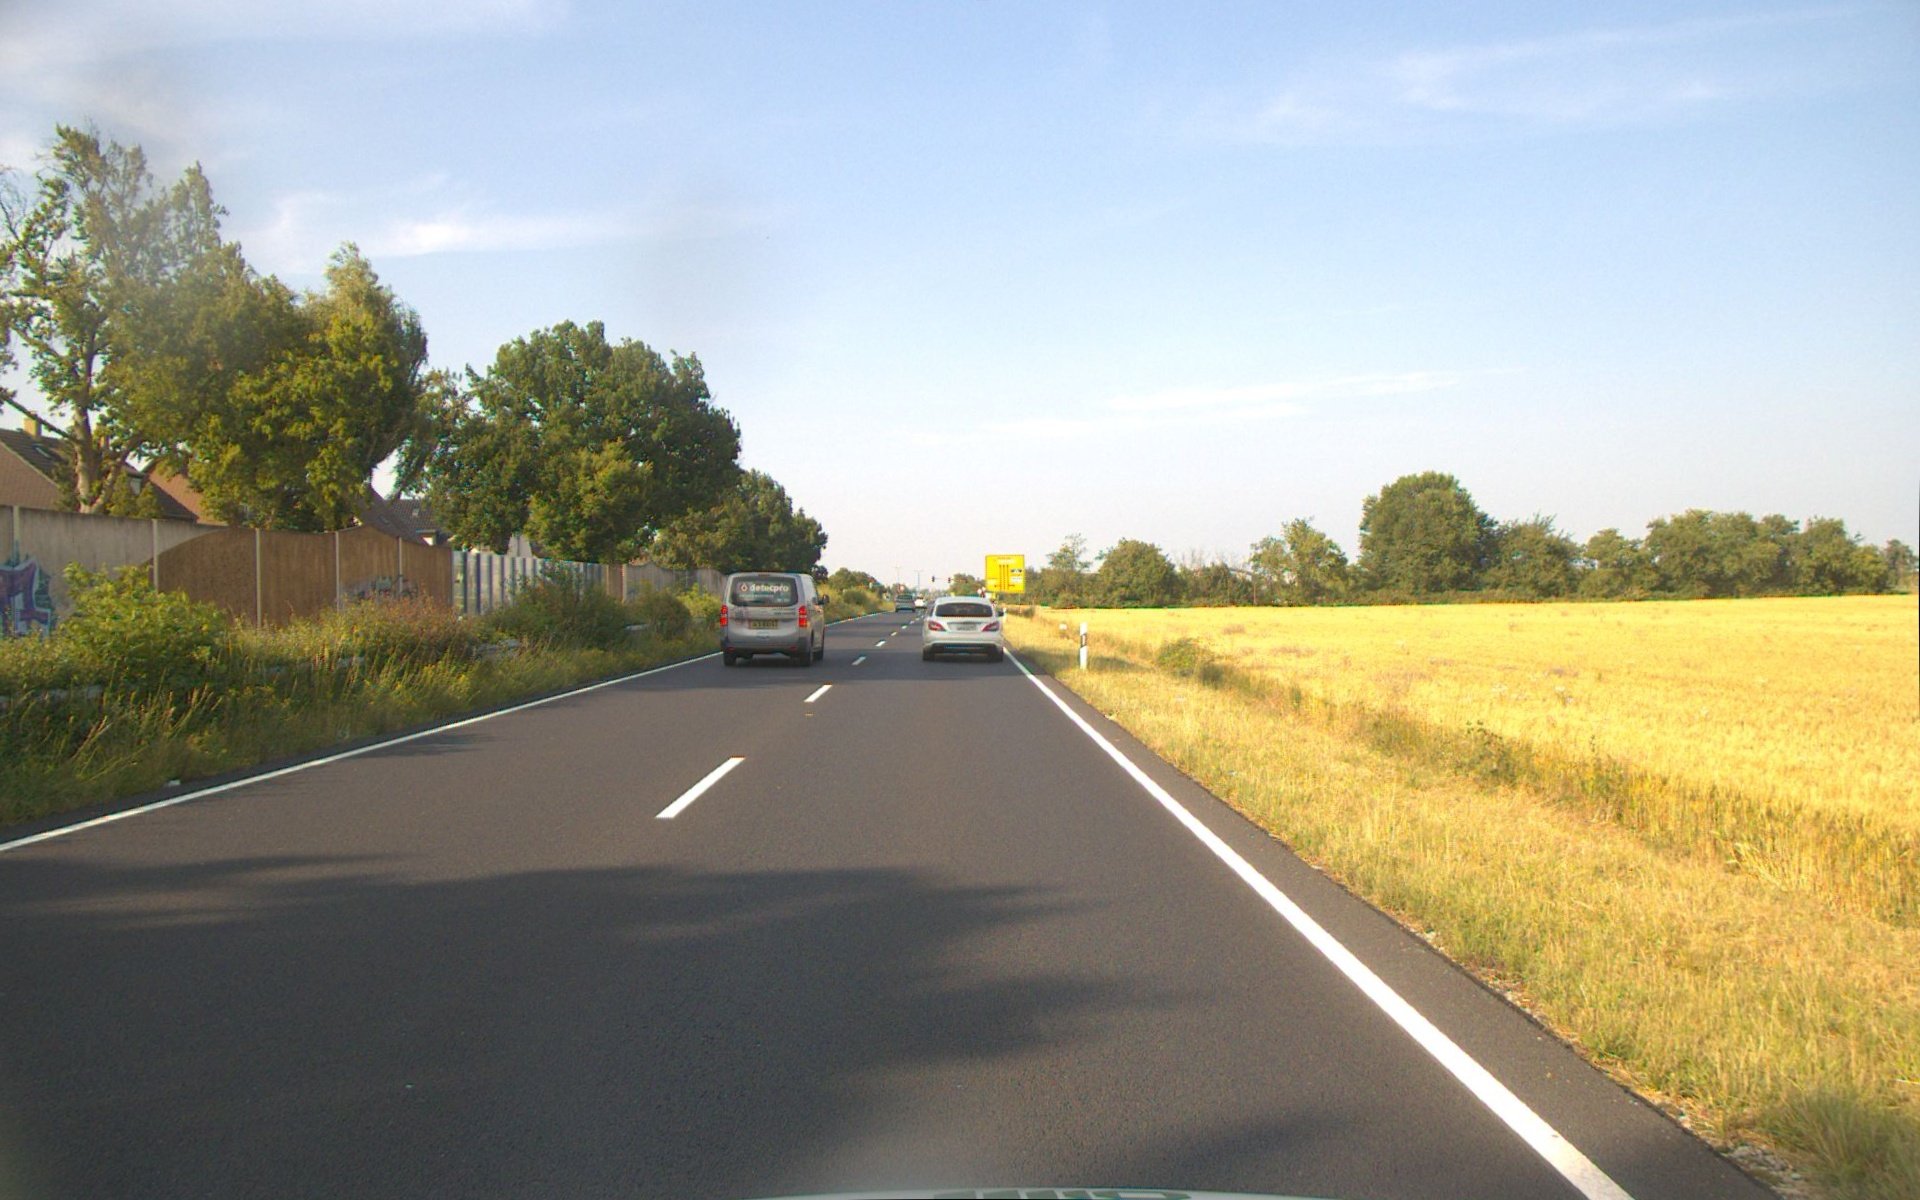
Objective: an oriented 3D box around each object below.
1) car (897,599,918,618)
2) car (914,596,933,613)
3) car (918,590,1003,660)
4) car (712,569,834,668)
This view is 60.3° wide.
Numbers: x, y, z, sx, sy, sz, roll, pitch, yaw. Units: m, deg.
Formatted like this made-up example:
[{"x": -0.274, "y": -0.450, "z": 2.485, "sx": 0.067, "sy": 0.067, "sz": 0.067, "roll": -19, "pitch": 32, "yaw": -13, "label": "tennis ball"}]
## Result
[{"x": -4.511, "y": 0.738, "z": 141.550, "sx": 1.682, "sy": 1.518, "sz": 3.584, "roll": 1, "pitch": 0, "yaw": 0, "label": "car"}, {"x": -3.726, "y": 0.424, "z": 168.817, "sx": 1.839, "sy": 1.680, "sz": 3.662, "roll": 1, "pitch": 0, "yaw": -2, "label": "car"}, {"x": -0.008, "y": 0.552, "z": 38.307, "sx": 1.856, "sy": 1.535, "sz": 3.999, "roll": 0, "pitch": 0, "yaw": -1, "label": "car"}, {"x": -3.900, "y": 0.363, "z": 35.324, "sx": 1.984, "sy": 1.925, "sz": 4.958, "roll": 1, "pitch": 0, "yaw": 0, "label": "car"}]
